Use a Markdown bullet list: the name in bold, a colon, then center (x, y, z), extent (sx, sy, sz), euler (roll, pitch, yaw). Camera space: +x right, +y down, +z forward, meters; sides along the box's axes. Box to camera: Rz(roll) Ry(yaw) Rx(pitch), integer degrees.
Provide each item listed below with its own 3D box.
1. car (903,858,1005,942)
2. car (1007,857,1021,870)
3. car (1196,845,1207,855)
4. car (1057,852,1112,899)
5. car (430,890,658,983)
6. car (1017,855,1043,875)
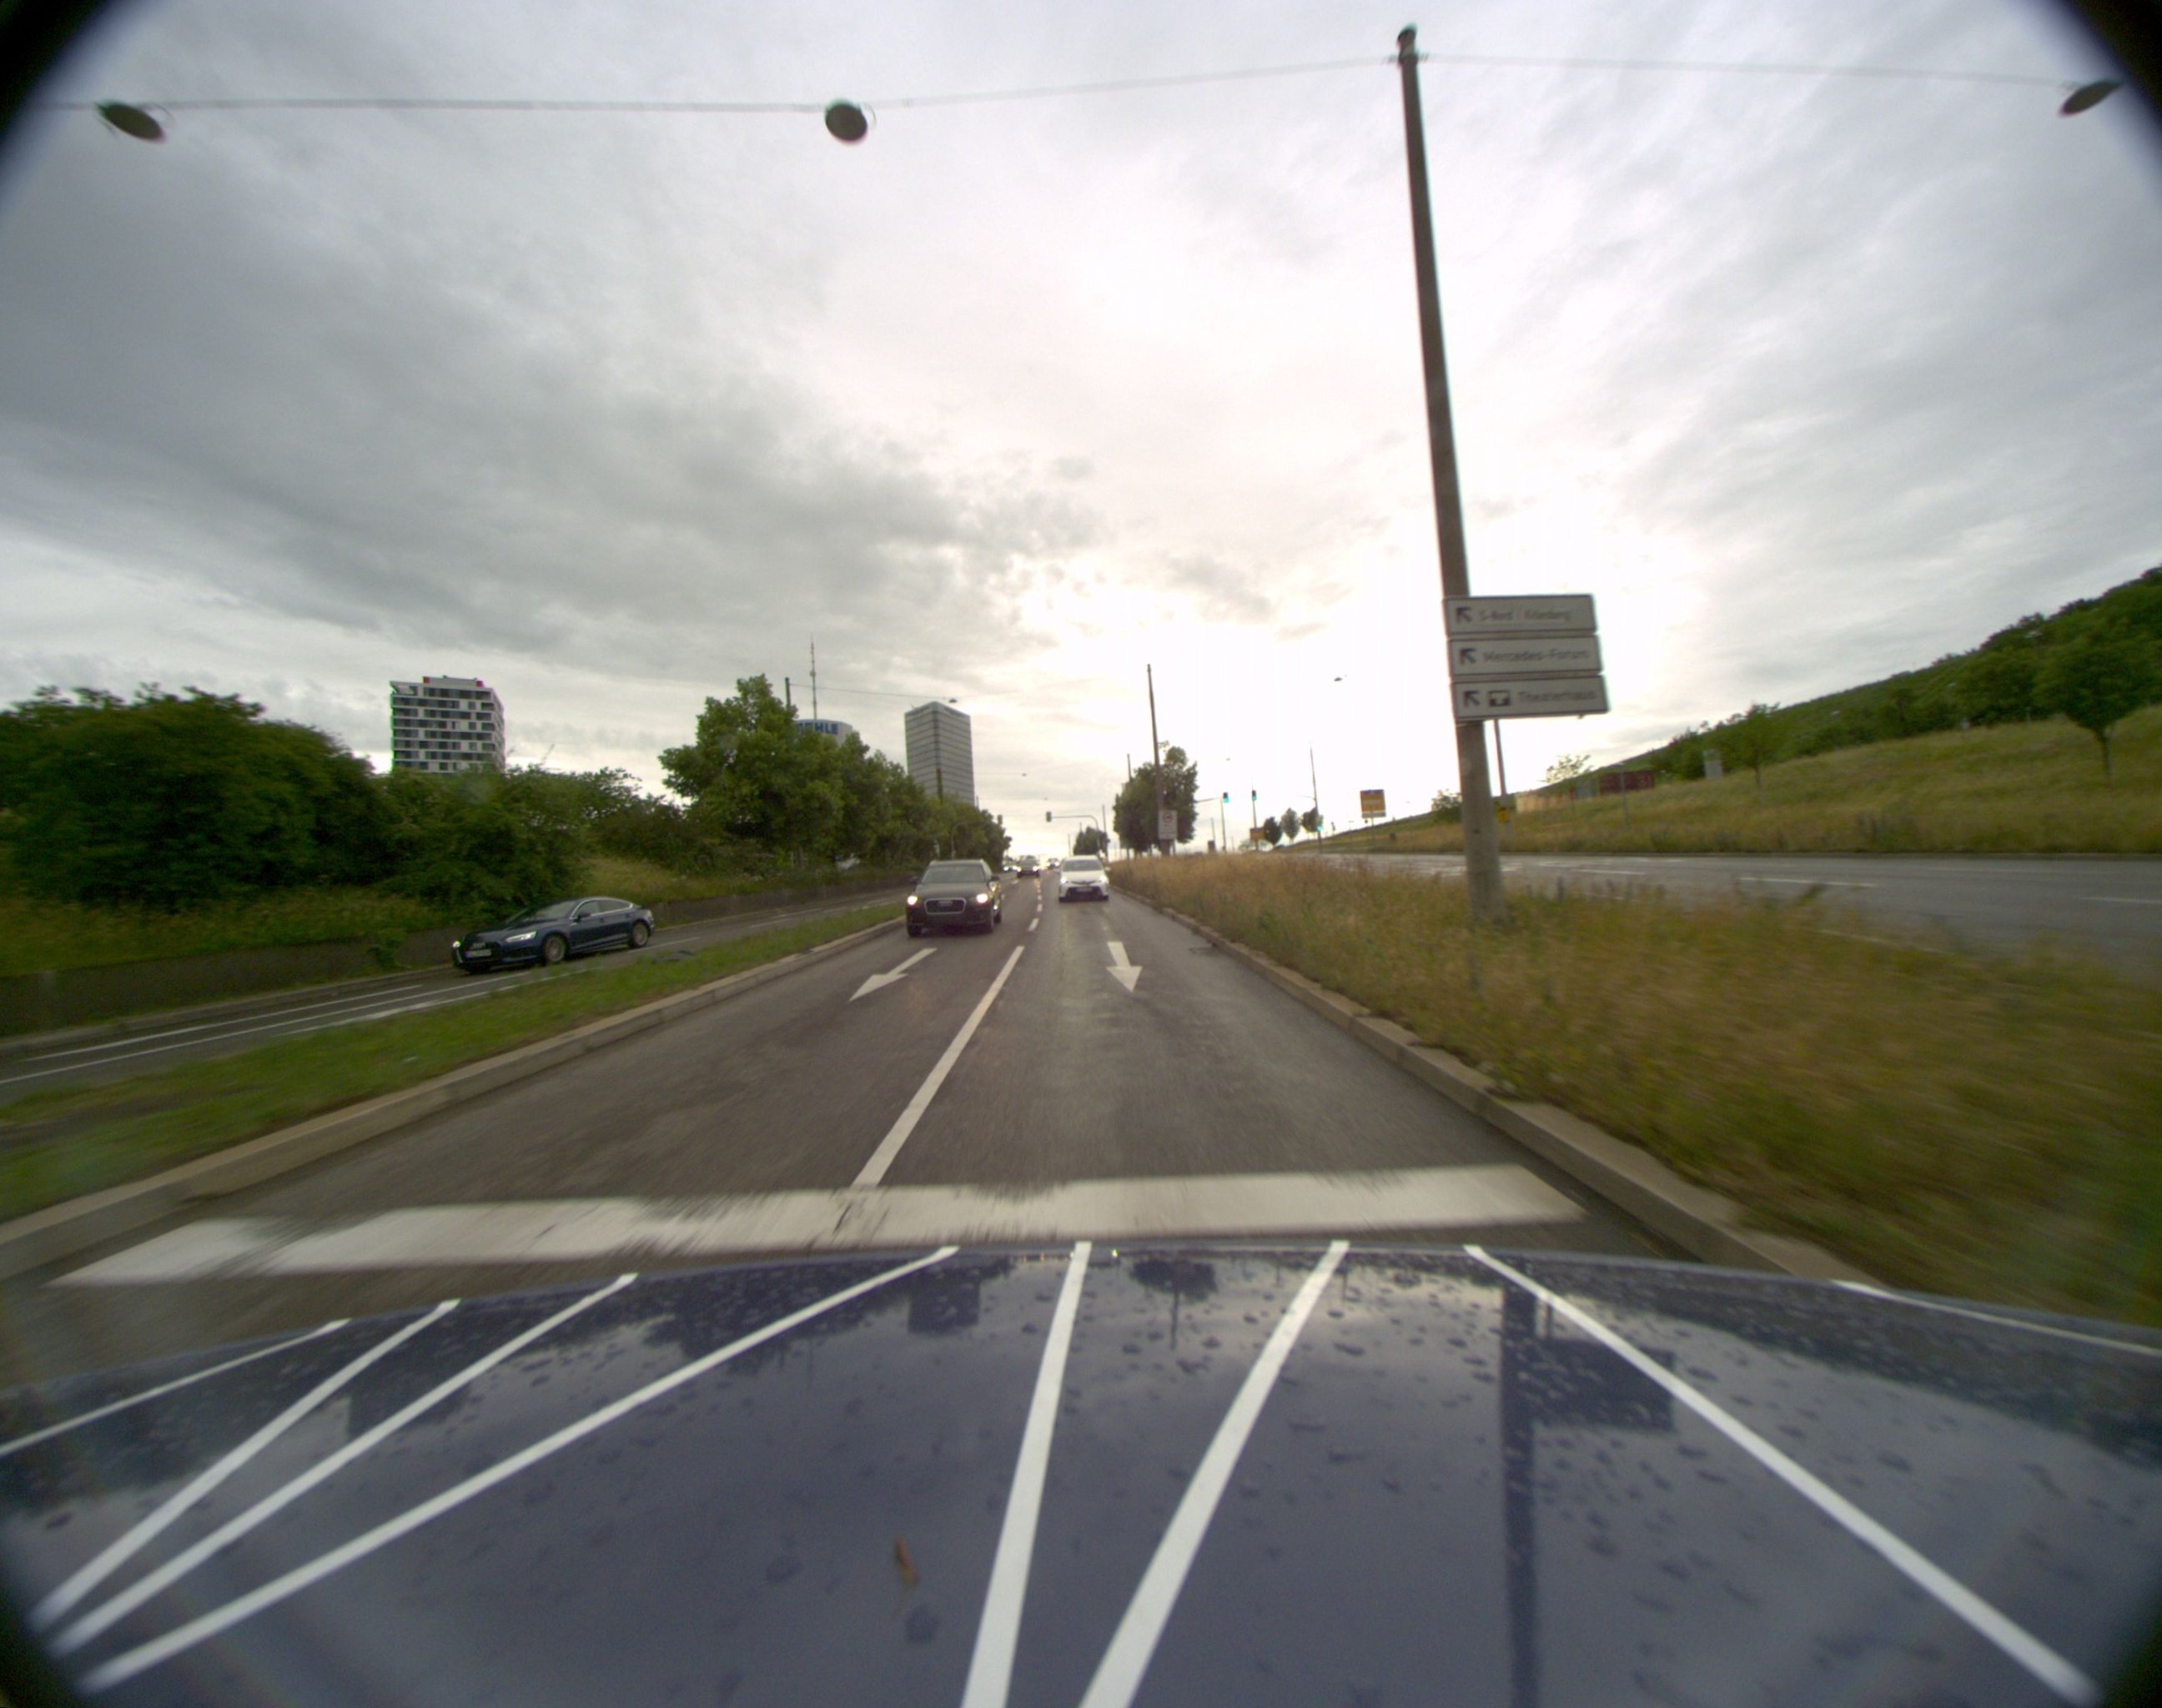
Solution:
- **car**: center (-2.767, 0.947, 17.395), extent (1.730, 1.525, 4.125), euler (-4, 1, -2)
- **car**: center (-9.288, 1.332, 105.046), extent (1.636, 1.466, 3.676), euler (-3, -3, -9)
- **car**: center (19.565, -0.656, 123.465), extent (1.541, 1.381, 3.929), euler (-4, 1, 6)
- **car**: center (0.215, 0.734, 27.765), extent (1.826, 1.574, 4.298), euler (-1, 0, 3)
- **car**: center (-11.672, 1.719, 16.976), extent (1.876, 1.417, 4.347), euler (-4, 1, 1)
- **car**: center (-4.041, 0.898, 60.829), extent (1.730, 1.463, 4.264), euler (-3, -1, 0)
